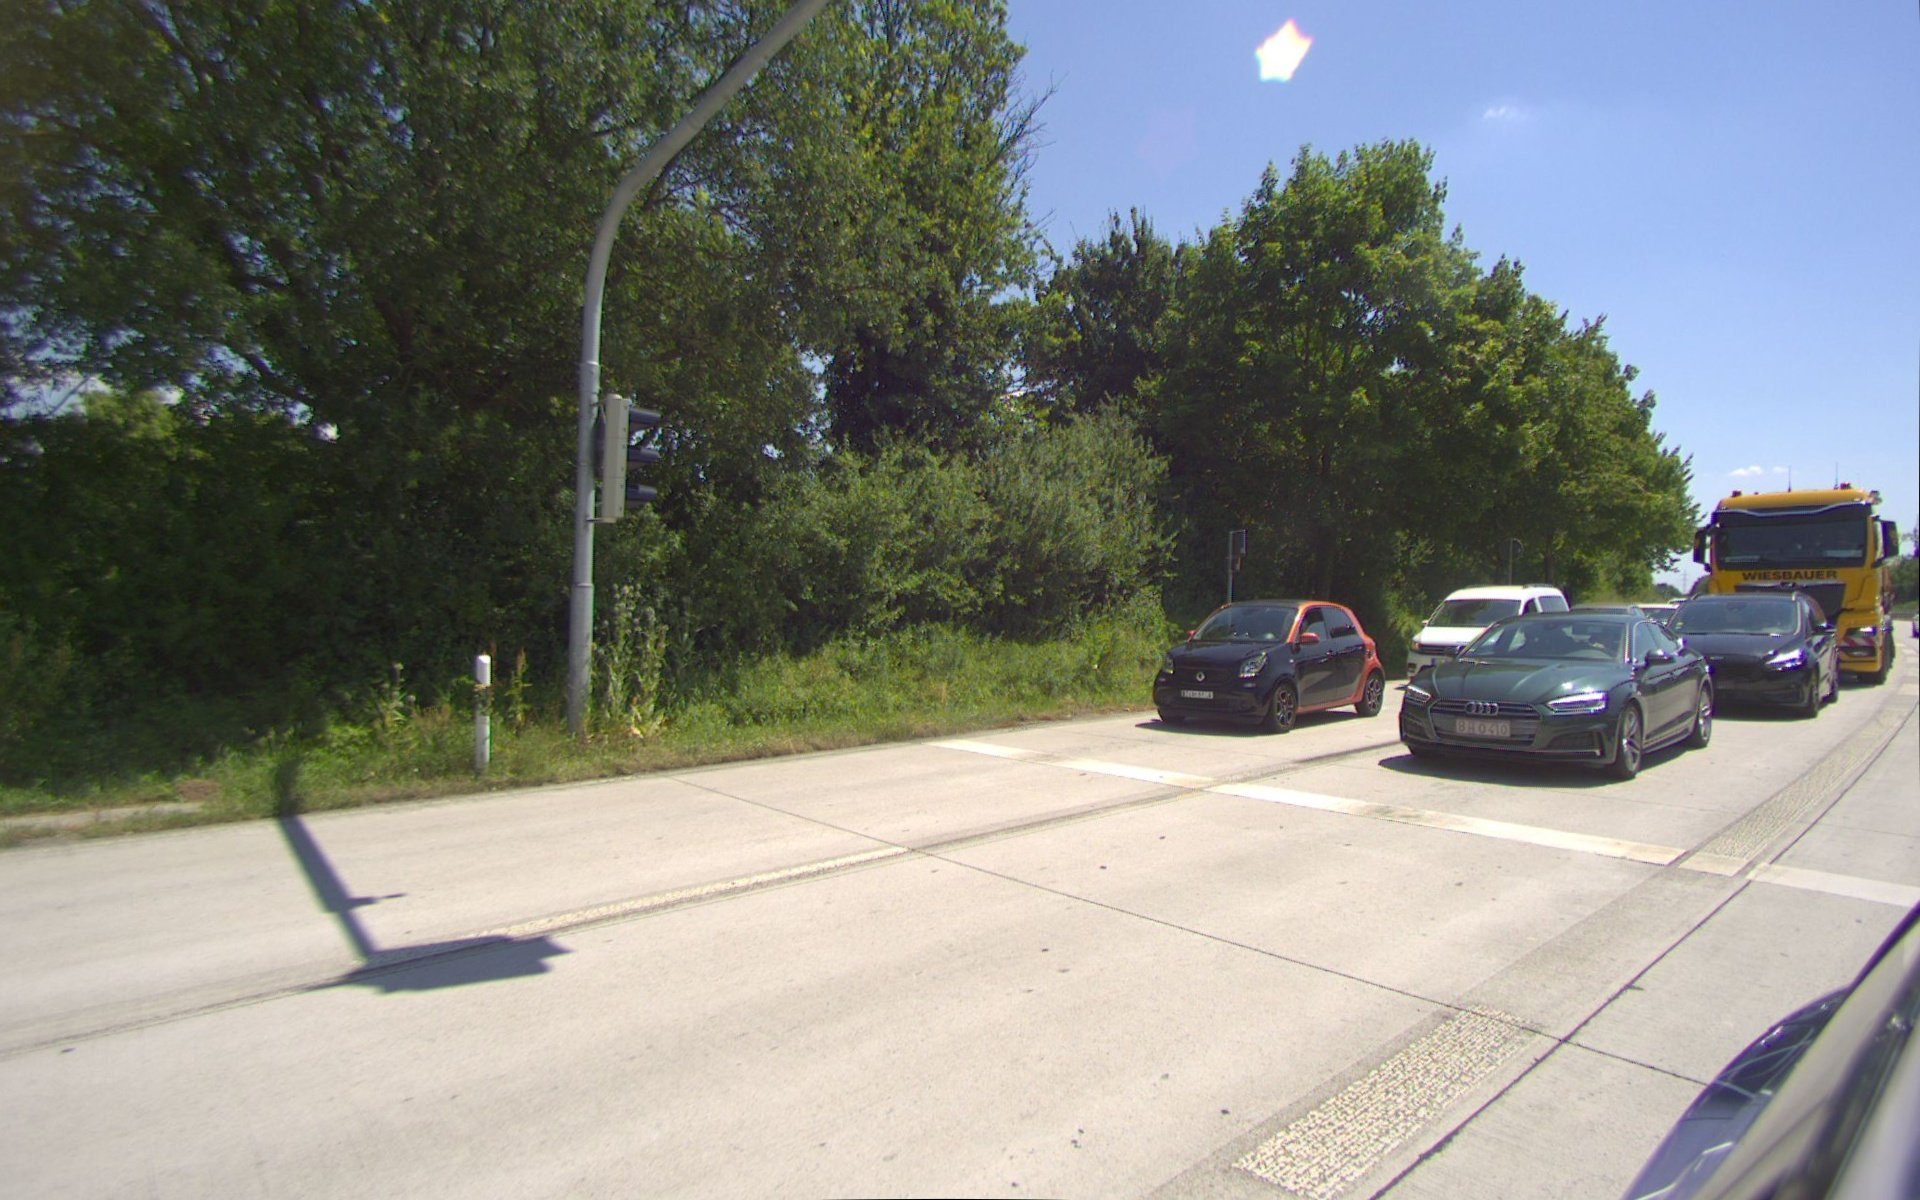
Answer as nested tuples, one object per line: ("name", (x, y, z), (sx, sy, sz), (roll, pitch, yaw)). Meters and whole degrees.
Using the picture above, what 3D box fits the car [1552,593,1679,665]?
("car", (15.385, 0.604, 23.665), (1.767, 1.480, 4.297), (0, 1, 43))

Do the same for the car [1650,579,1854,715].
("car", (11.511, 0.535, 14.586), (1.784, 1.660, 4.572), (0, 1, 45))

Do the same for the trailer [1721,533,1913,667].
("trailer", (23.076, -0.029, 26.770), (3.026, 2.626, 16.101), (0, 0, 43))

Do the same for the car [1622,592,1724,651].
("car", (19.806, 0.537, 28.043), (1.767, 1.480, 4.528), (0, 1, 42))

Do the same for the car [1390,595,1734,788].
("car", (6.090, 0.690, 9.974), (4.533, 1.428, 1.769), (-1, 1, -44))

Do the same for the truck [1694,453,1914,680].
("truck", (17.505, -0.611, 20.802), (3.013, 3.820, 7.353), (0, 0, 43))

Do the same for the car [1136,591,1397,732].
("car", (4.041, 0.657, 13.066), (1.768, 1.528, 3.593), (0, 1, 45))

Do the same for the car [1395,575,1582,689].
("car", (9.799, 0.473, 18.579), (1.768, 1.830, 4.716), (0, 1, 44))
